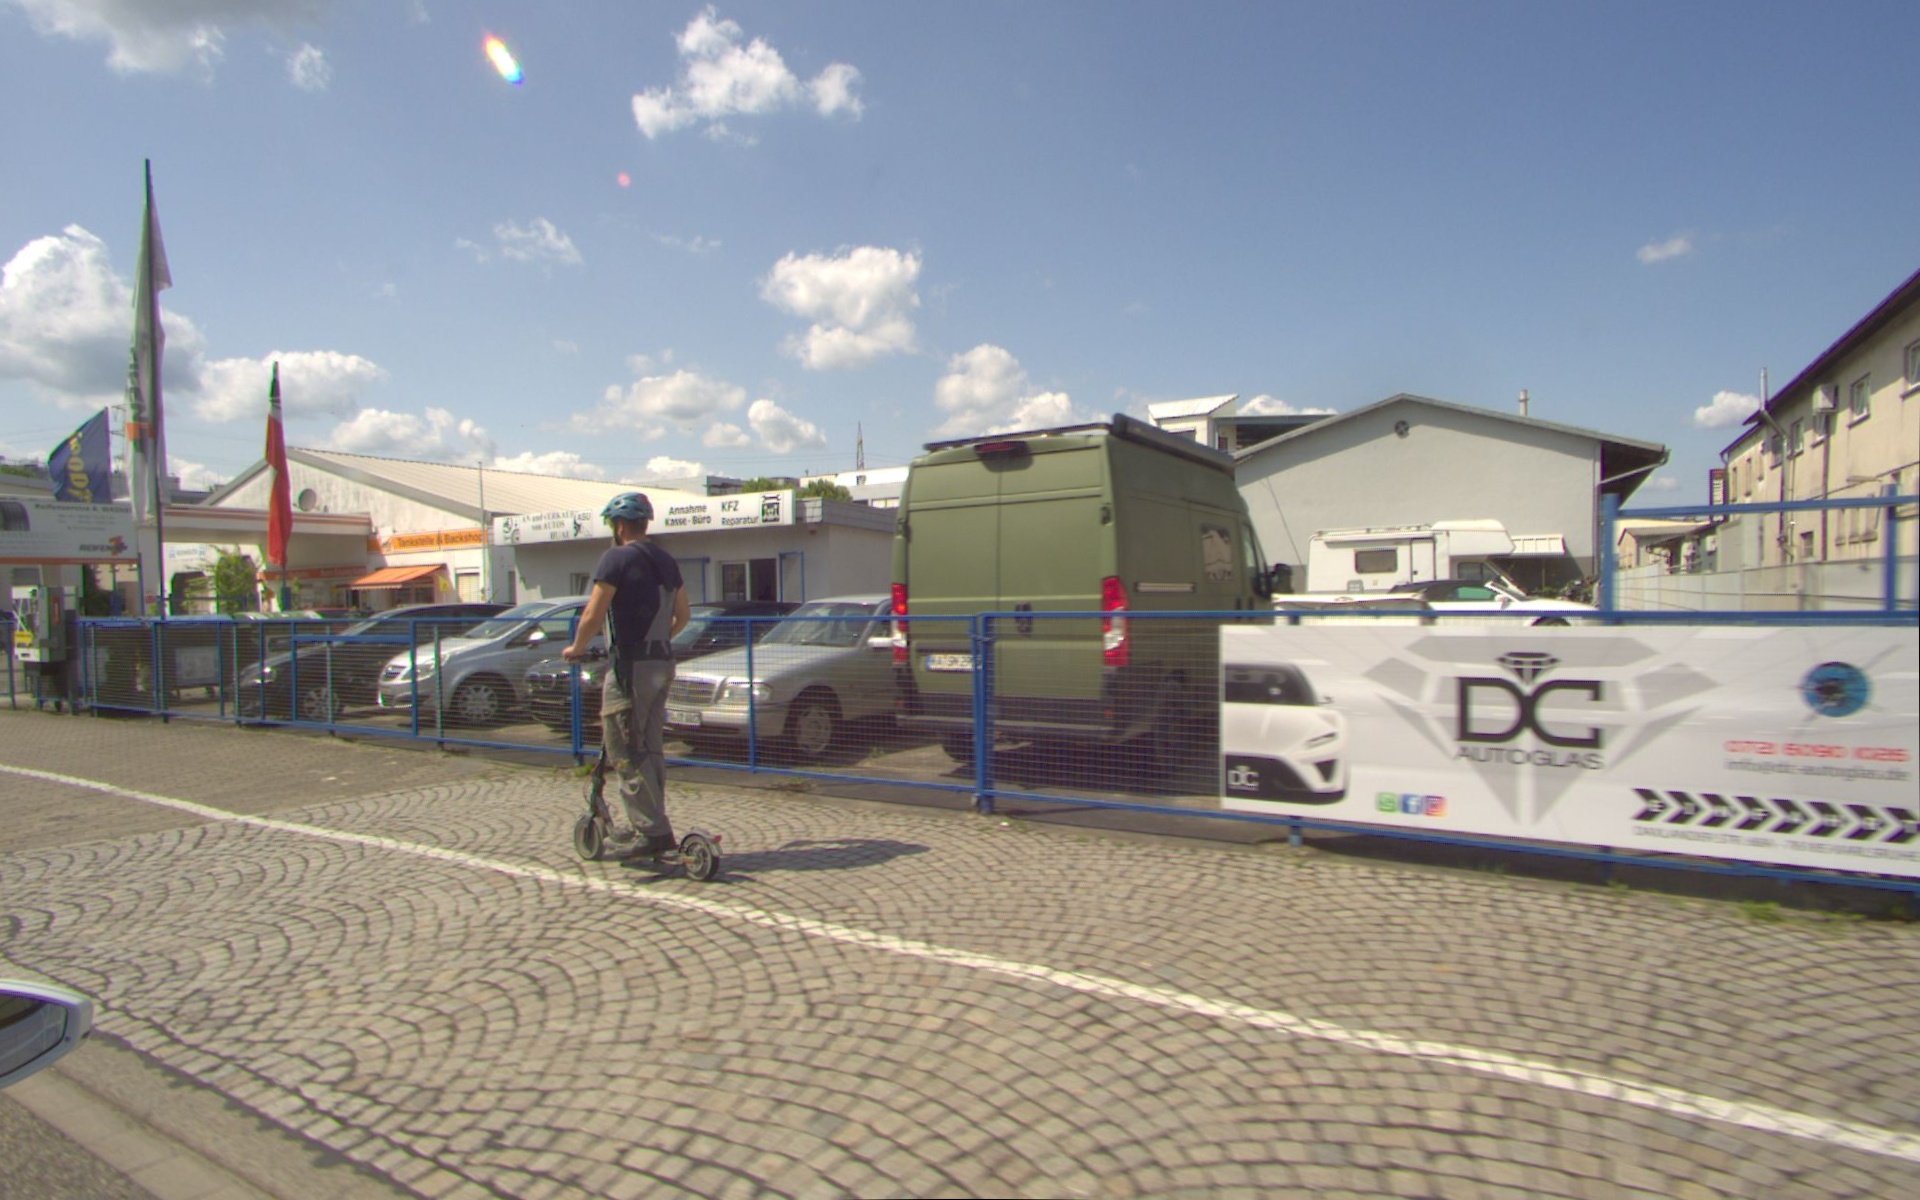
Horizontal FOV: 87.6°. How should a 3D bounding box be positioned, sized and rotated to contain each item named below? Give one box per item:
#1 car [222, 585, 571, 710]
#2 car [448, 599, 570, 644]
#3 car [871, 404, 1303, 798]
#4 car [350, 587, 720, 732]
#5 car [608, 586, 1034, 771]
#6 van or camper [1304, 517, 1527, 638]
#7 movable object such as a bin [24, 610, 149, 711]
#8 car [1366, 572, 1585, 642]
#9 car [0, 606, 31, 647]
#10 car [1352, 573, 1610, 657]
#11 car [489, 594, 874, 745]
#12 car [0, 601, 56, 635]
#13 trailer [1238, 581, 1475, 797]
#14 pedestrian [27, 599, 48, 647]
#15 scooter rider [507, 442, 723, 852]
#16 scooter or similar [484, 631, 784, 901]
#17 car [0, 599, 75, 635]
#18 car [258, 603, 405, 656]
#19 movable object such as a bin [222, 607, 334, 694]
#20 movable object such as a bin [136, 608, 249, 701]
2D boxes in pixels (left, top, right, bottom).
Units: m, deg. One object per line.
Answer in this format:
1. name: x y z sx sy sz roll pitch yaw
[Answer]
1. car: -7.718 0.557 13.923 3.956 1.462 1.695 -2 1 -41
2. car: -15.308 0.701 34.129 1.589 1.379 3.488 -1 1 31
3. car: 1.444 -0.001 9.112 2.121 2.607 4.525 -1 1 33
4. car: -5.270 0.634 12.731 3.959 1.516 1.734 -2 1 -44
5. car: -1.171 0.612 10.107 1.798 1.450 4.166 -1 0 38
6. van or camper: 11.636 -0.500 25.710 4.985 2.810 2.305 -1 1 29
7. movable object such as a bin: -13.689 0.920 15.712 0.812 1.464 1.253 -1 1 32
8. car: 11.286 0.164 22.071 4.119 1.407 1.918 -1 1 30
9. car: -35.835 1.002 36.368 3.940 1.439 1.956 -1 1 30
10. car: 9.691 0.278 18.814 4.119 1.435 1.750 -1 1 30
11. car: -3.037 0.664 11.576 1.799 1.374 3.969 -1 0 39
12. car: -49.364 0.945 51.408 1.937 1.671 3.979 -1 1 31
13. trailer: 3.249 0.563 7.949 1.284 1.351 2.776 -1 1 32
14. pedestrian: -33.725 0.835 36.615 0.478 1.712 0.395 -1 2 33
15. scooter rider: -1.831 0.232 5.356 0.774 1.990 0.715 -1 1 32
16. scooter or similar: -1.729 0.791 5.243 1.587 1.211 0.539 -1 2 31
17. car: -47.230 0.858 50.089 1.937 1.671 3.979 -1 1 31
18. car: -18.604 0.846 29.773 1.589 1.379 3.313 -1 1 31
19. movable object such as a bin: -12.222 0.880 17.978 0.939 1.464 1.320 -1 1 25
20. movable object such as a bin: -12.886 0.884 16.830 0.812 1.464 1.253 -1 1 32
